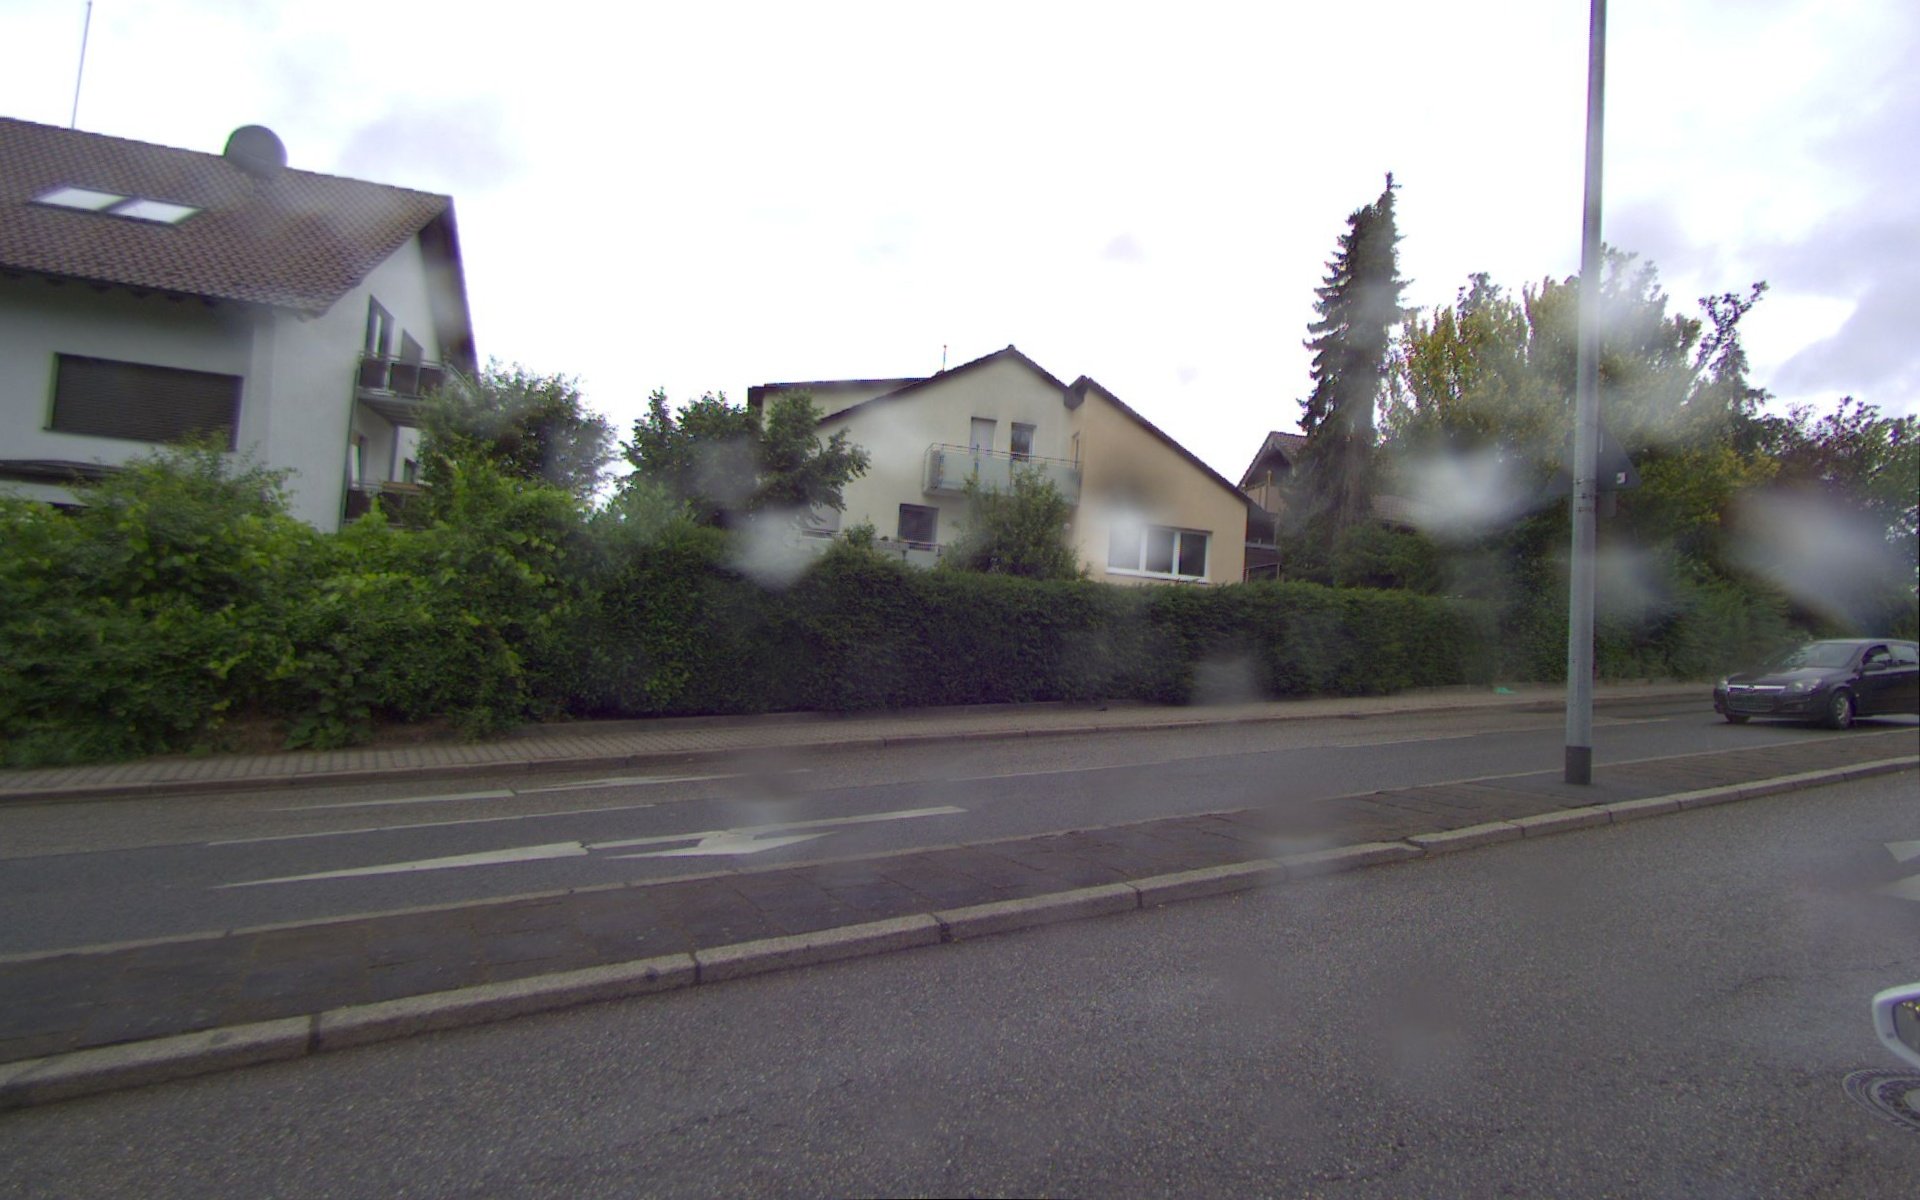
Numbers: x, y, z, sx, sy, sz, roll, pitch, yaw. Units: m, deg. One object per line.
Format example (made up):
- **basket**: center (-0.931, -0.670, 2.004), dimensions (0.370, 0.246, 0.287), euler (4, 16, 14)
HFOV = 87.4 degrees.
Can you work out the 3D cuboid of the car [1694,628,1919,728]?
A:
- **car**: center (14.769, 1.279, 17.144), dimensions (3.944, 1.529, 1.891), euler (1, -3, -24)
